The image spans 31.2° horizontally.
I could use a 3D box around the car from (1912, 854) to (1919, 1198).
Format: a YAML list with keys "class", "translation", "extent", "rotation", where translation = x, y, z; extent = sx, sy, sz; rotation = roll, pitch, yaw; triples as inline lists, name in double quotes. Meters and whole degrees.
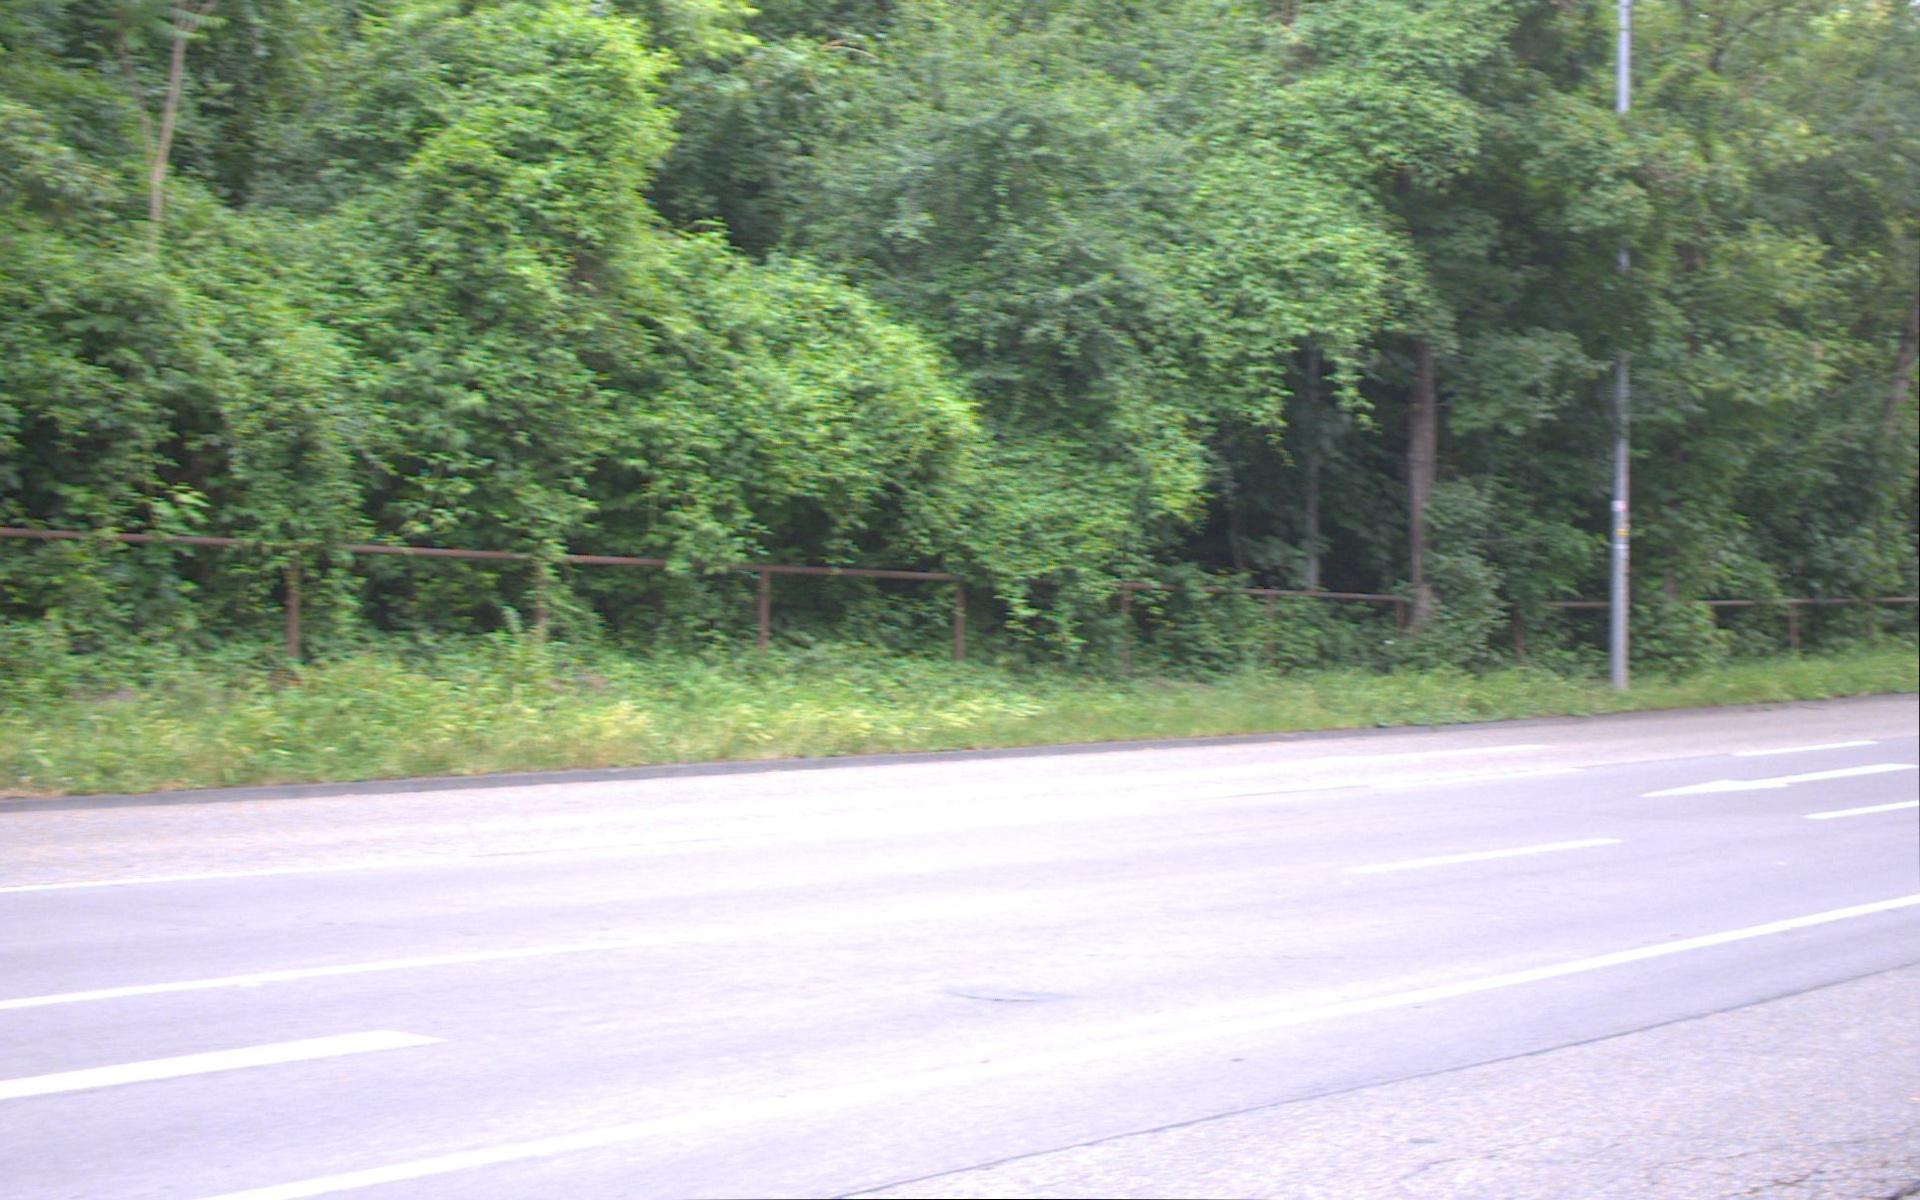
- class: "car"
  translation: [4.261, 0.883, 9.625]
  extent: [1.878, 1.305, 3.865]
  rotation: [1, 0, 35]
